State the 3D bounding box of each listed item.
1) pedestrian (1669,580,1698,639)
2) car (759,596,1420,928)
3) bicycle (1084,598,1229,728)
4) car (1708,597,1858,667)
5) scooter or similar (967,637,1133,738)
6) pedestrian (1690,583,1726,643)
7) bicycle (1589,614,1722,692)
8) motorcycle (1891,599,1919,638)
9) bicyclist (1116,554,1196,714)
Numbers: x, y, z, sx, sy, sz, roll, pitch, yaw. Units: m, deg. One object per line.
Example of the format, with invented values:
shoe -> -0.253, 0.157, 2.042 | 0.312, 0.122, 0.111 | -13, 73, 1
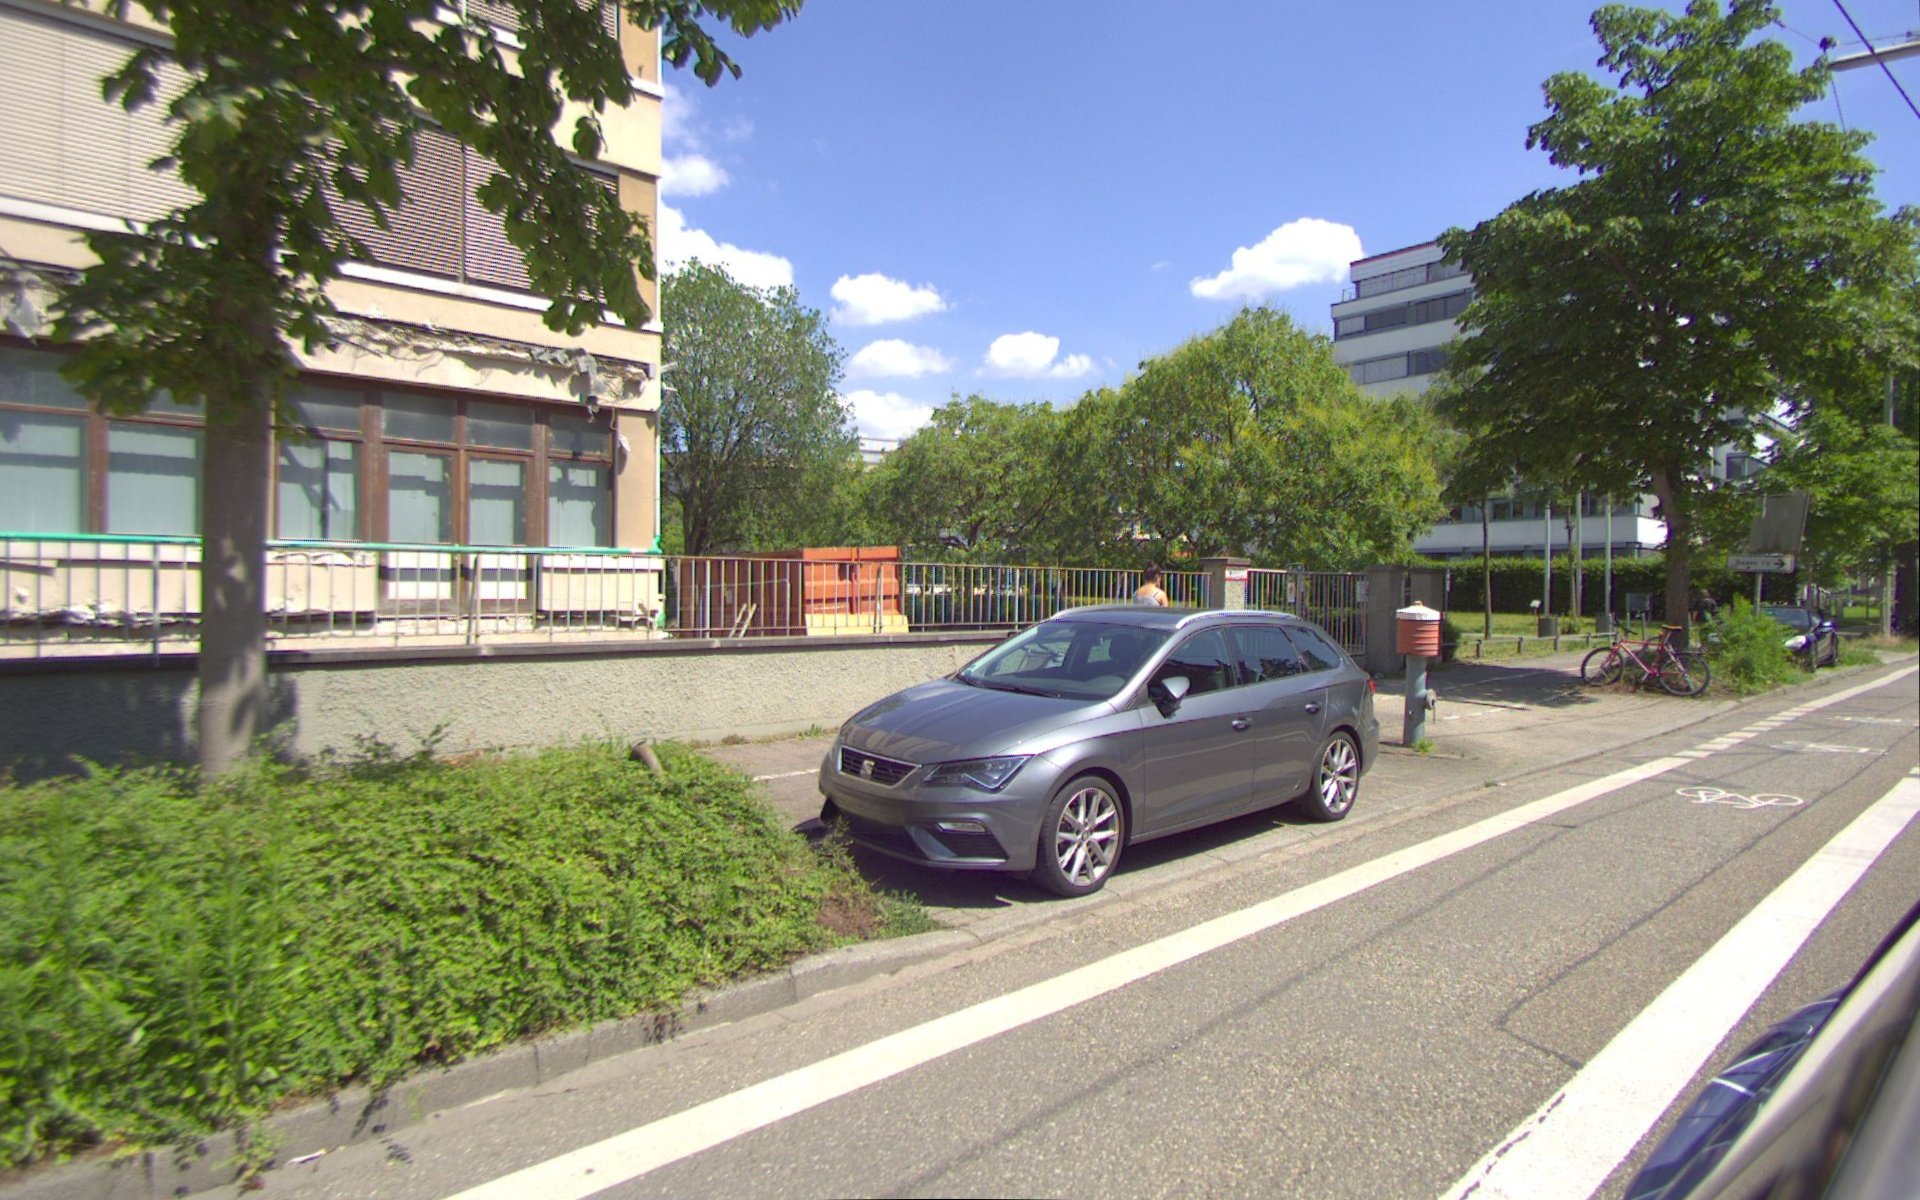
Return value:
pedestrian -> 19.991, 0.257, 27.968 | 0.535, 1.593, 0.514 | 0, 2, -40
car -> 1.153, 0.702, 6.634 | 4.667, 1.426, 1.674 | 0, 1, -42
bicycle -> 2.165, 0.636, 11.029 | 1.743, 1.281, 0.556 | 0, 3, -41
car -> 17.088, 0.611, 20.959 | 3.766, 1.287, 1.754 | 0, 0, -41
scooter or similar -> 0.904, 0.822, 9.971 | 1.528, 0.817, 0.763 | 0, 3, -41
pedestrian -> 20.314, 0.340, 27.480 | 0.600, 1.593, 0.620 | 0, 2, -40
bicycle -> 10.536, 0.776, 15.365 | 0.552, 1.073, 1.588 | 0, 1, -41
motorcycle -> 31.822, 0.626, 33.186 | 0.601, 1.228, 2.063 | -1, 1, -2
bicyclist -> 2.127, 0.348, 10.991 | 0.589, 1.668, 0.581 | 0, 2, -41
